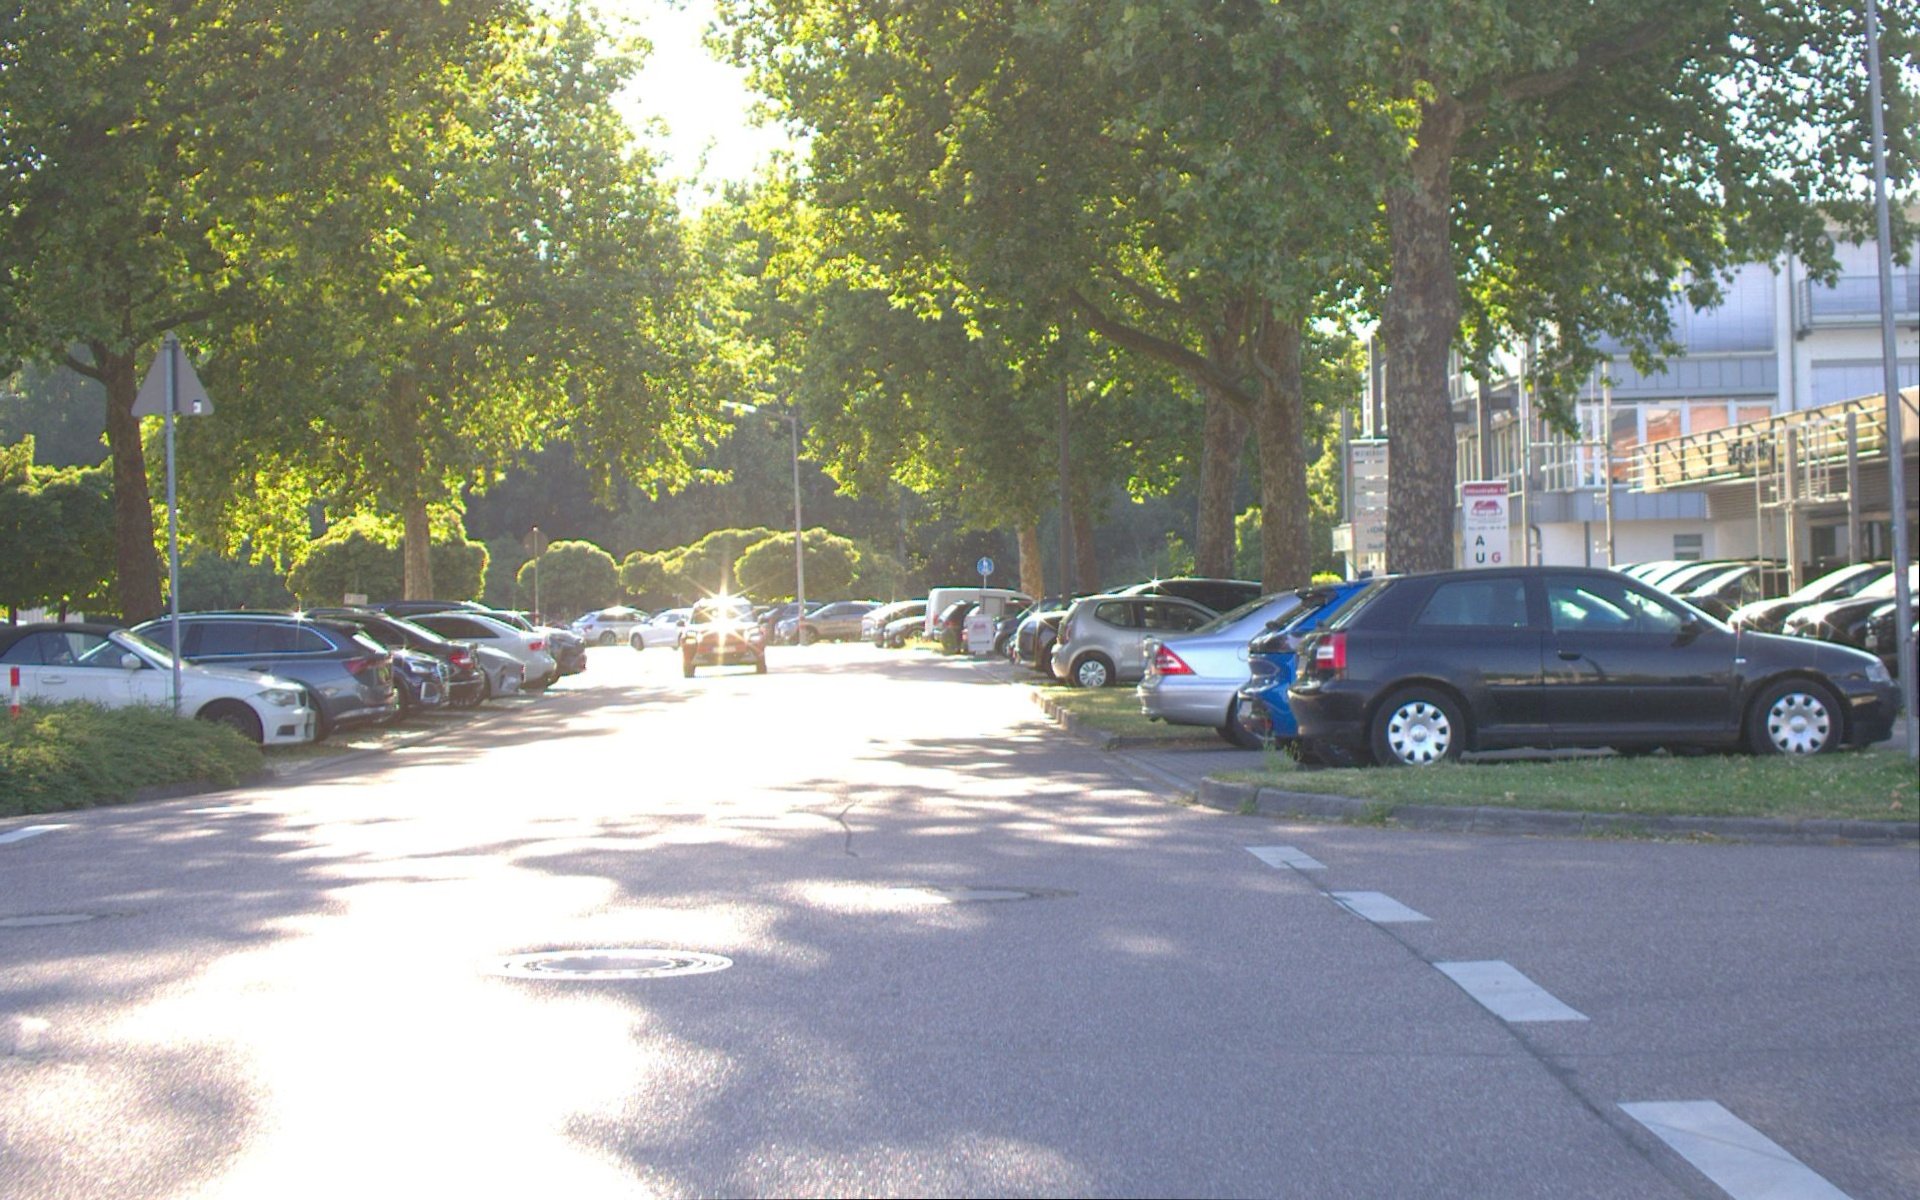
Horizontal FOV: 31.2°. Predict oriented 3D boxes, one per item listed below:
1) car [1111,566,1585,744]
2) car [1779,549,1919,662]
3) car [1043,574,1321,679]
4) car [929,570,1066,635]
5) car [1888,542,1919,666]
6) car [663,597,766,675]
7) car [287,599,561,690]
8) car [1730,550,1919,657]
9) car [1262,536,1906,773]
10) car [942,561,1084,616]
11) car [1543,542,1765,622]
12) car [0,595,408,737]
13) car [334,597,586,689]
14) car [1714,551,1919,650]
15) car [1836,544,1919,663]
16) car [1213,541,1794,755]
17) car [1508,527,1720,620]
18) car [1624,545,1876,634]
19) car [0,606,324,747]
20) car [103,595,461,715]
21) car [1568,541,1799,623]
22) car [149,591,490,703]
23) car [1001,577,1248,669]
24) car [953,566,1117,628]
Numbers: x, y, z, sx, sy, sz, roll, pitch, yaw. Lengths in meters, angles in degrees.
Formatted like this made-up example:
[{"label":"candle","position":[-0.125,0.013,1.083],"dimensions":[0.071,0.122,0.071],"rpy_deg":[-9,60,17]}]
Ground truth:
[{"label":"car","position":[3.432,0.474,30.942],"dimensions":[3.987,1.411,1.827],"rpy_deg":[-2,0,-1]},{"label":"car","position":[13.770,0.066,48.355],"dimensions":[3.986,1.541,2.000],"rpy_deg":[0,0,-2]},{"label":"car","position":[3.313,0.384,51.823],"dimensions":[3.987,1.411,1.827],"rpy_deg":[-2,0,-1]},{"label":"car","position":[1.101,0.077,102.473],"dimensions":[3.987,1.771,1.827],"rpy_deg":[-2,0,-1]},{"label":"car","position":[13.945,0.041,43.191],"dimensions":[3.986,1.541,2.000],"rpy_deg":[0,0,-2]},{"label":"car","position":[-5.233,0.757,73.706],"dimensions":[1.993,1.603,4.000],"rpy_deg":[1,0,-1]},{"label":"car","position":[-9.226,0.759,59.404],"dimensions":[4.415,1.512,2.000],"rpy_deg":[0,0,1]},{"label":"car","position":[13.683,0.046,51.079],"dimensions":[3.986,1.541,2.000],"rpy_deg":[0,0,-2]},{"label":"car","position":[4.193,0.354,23.608],"dimensions":[3.987,1.411,2.000],"rpy_deg":[-2,0,-1]},{"label":"car","position":[1.509,-0.331,99.381],"dimensions":[3.987,1.411,1.827],"rpy_deg":[-2,0,-1]},{"label":"car","position":[13.831,-0.357,68.663],"dimensions":[3.986,1.541,2.000],"rpy_deg":[0,0,-2]},{"label":"car","position":[-8.472,0.710,38.145],"dimensions":[4.415,1.512,2.000],"rpy_deg":[0,0,-2]},{"label":"car","position":[-9.365,0.796,64.622],"dimensions":[4.415,1.692,2.000],"rpy_deg":[0,0,1]},{"label":"car","position":[14.039,0.002,53.789],"dimensions":[3.986,1.499,2.000],"rpy_deg":[0,0,-2]},{"label":"car","position":[13.898,0.033,45.628],"dimensions":[3.986,1.541,2.000],"rpy_deg":[0,0,-2]},{"label":"car","position":[4.010,0.343,25.895],"dimensions":[3.987,1.411,2.000],"rpy_deg":[-2,0,-1]},{"label":"car","position":[13.586,-0.543,71.601],"dimensions":[3.986,1.899,2.000],"rpy_deg":[0,0,-2]},{"label":"car","position":[14.028,-0.190,61.224],"dimensions":[3.986,1.541,2.000],"rpy_deg":[0,0,-2]},{"label":"car","position":[-8.918,0.776,35.676],"dimensions":[4.414,1.398,2.000],"rpy_deg":[0,0,-6]},{"label":"car","position":[-8.875,0.705,45.283],"dimensions":[4.415,1.512,2.000],"rpy_deg":[0,0,-4]},{"label":"car","position":[13.917,-0.351,66.252],"dimensions":[3.986,1.541,2.000],"rpy_deg":[0,0,-2]},{"label":"car","position":[-8.973,0.644,48.418],"dimensions":[4.415,1.512,2.000],"rpy_deg":[0,0,1]},{"label":"car","position":[2.733,0.378,57.796],"dimensions":[3.987,1.376,1.827],"rpy_deg":[-2,0,-1]},{"label":"car","position":[1.865,-0.076,86.406],"dimensions":[3.987,1.411,1.827],"rpy_deg":[-2,0,-1]}]
